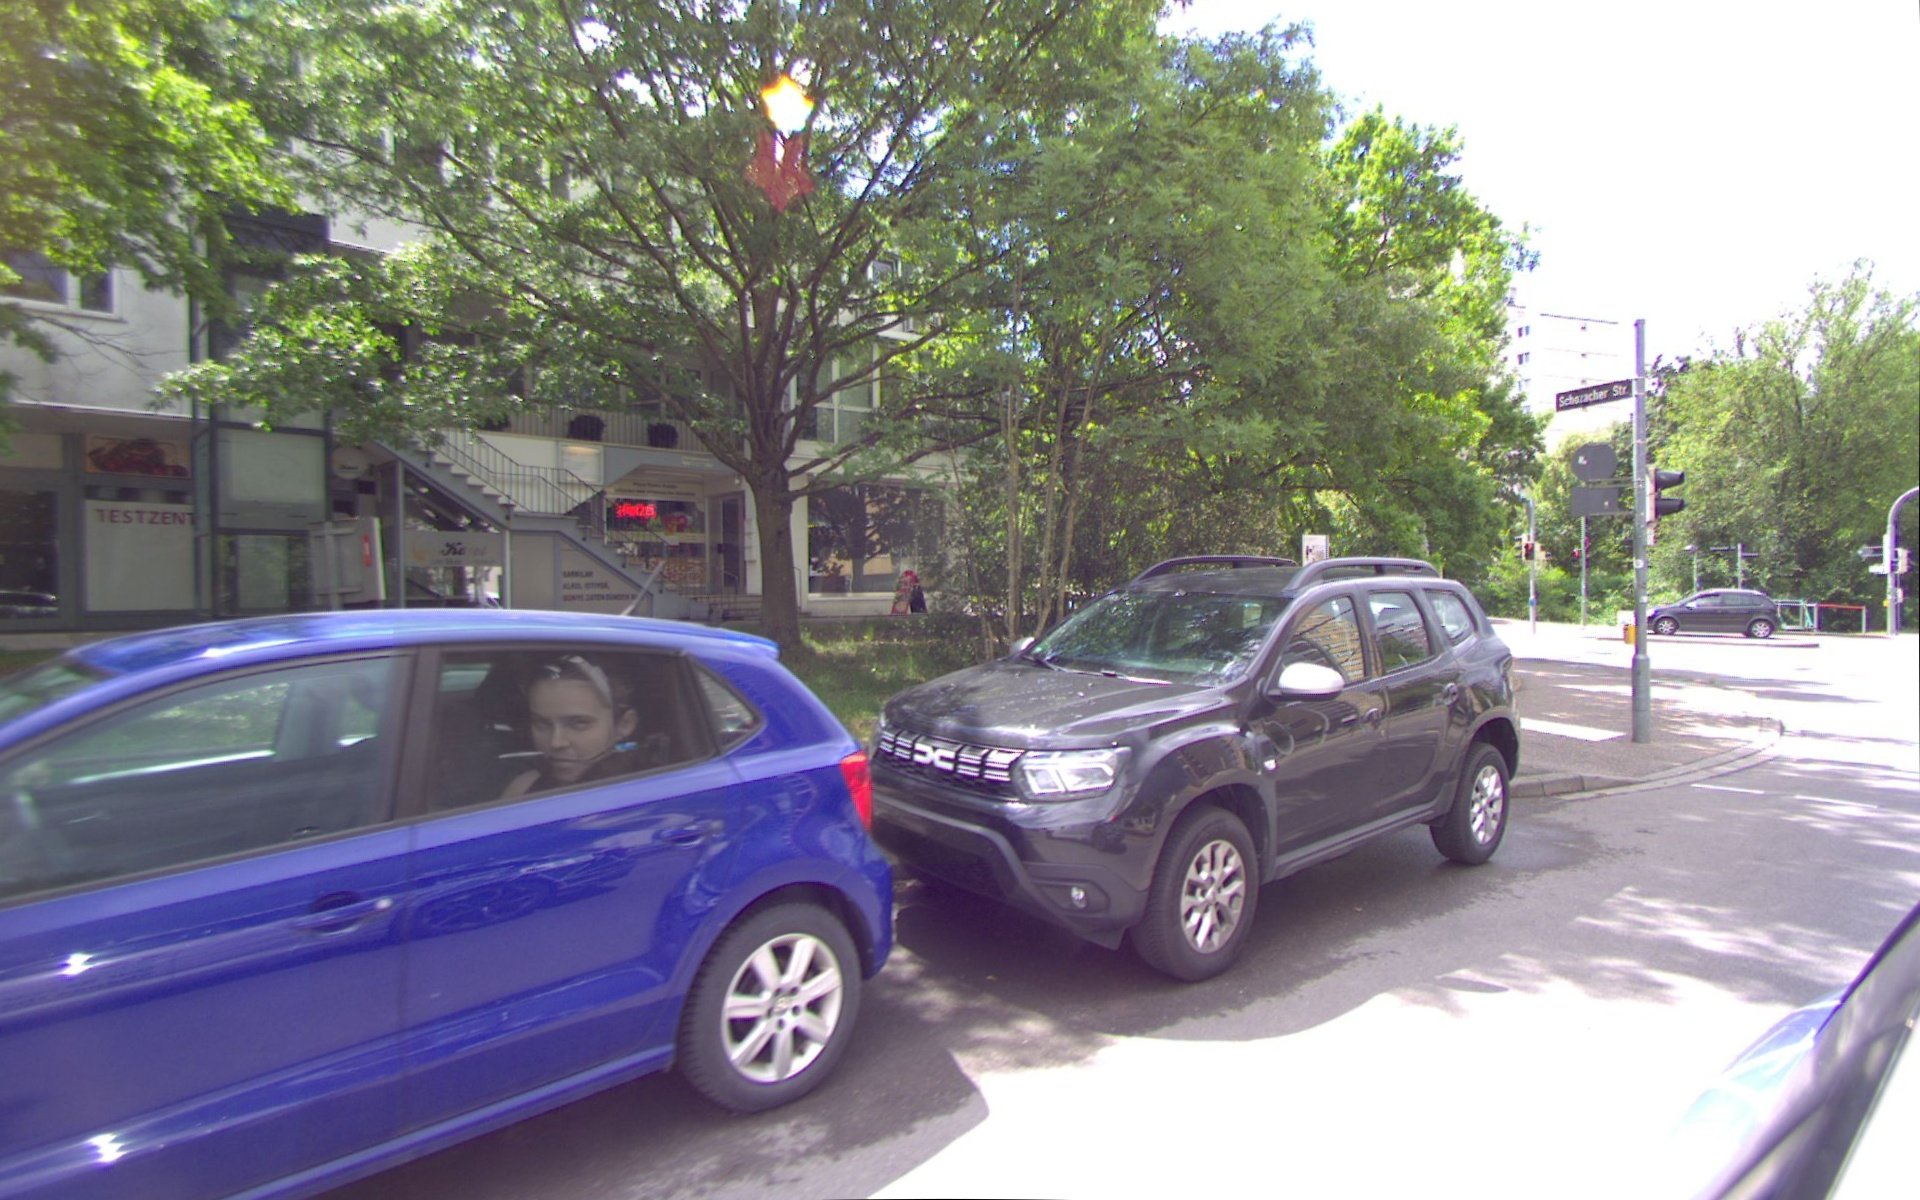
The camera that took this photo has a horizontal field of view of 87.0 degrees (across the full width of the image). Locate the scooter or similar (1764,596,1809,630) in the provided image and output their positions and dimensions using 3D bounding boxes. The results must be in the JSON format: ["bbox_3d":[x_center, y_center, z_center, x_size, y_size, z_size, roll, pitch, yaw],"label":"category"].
[{"bbox_3d":[32.457,0.518,39.760,1.196,1.310,0.531,-2,-5,21],"label":"scooter or similar"}]

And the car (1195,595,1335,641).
[{"bbox_3d":[9.846,0.528,32.809,1.882,1.240,3.963,-3,4,-43],"label":"car"}]

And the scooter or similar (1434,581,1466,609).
[{"bbox_3d":[21.391,-0.241,44.202,0.513,1.197,1.177,1,1,-32],"label":"scooter or similar"}]

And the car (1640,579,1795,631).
[{"bbox_3d":[24.409,0.129,32.773,3.757,1.557,1.667,2,1,28],"label":"car"}]

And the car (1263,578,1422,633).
[{"bbox_3d":[12.729,0.111,33.898,1.892,1.611,4.647,-3,4,-43],"label":"car"}]

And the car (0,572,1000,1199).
[{"bbox_3d":[-1.900,0.679,2.717,4.006,1.476,1.646,0,0,-42],"label":"car"}]

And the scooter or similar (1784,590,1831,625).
[{"bbox_3d":[30.000,0.262,35.842,0.440,1.210,1.172,1,1,-32],"label":"scooter or similar"}]

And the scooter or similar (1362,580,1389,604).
[{"bbox_3d":[19.123,-0.368,46.580,0.402,1.087,1.116,1,1,-32],"label":"scooter or similar"}]

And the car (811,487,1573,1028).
[{"bbox_3d":[1.562,0.511,5.439,4.489,1.784,1.647,0,1,-41],"label":"car"}]

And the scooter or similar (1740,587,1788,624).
[{"bbox_3d":[28.109,0.188,35.404,1.199,1.250,0.475,2,0,27],"label":"scooter or similar"}]
